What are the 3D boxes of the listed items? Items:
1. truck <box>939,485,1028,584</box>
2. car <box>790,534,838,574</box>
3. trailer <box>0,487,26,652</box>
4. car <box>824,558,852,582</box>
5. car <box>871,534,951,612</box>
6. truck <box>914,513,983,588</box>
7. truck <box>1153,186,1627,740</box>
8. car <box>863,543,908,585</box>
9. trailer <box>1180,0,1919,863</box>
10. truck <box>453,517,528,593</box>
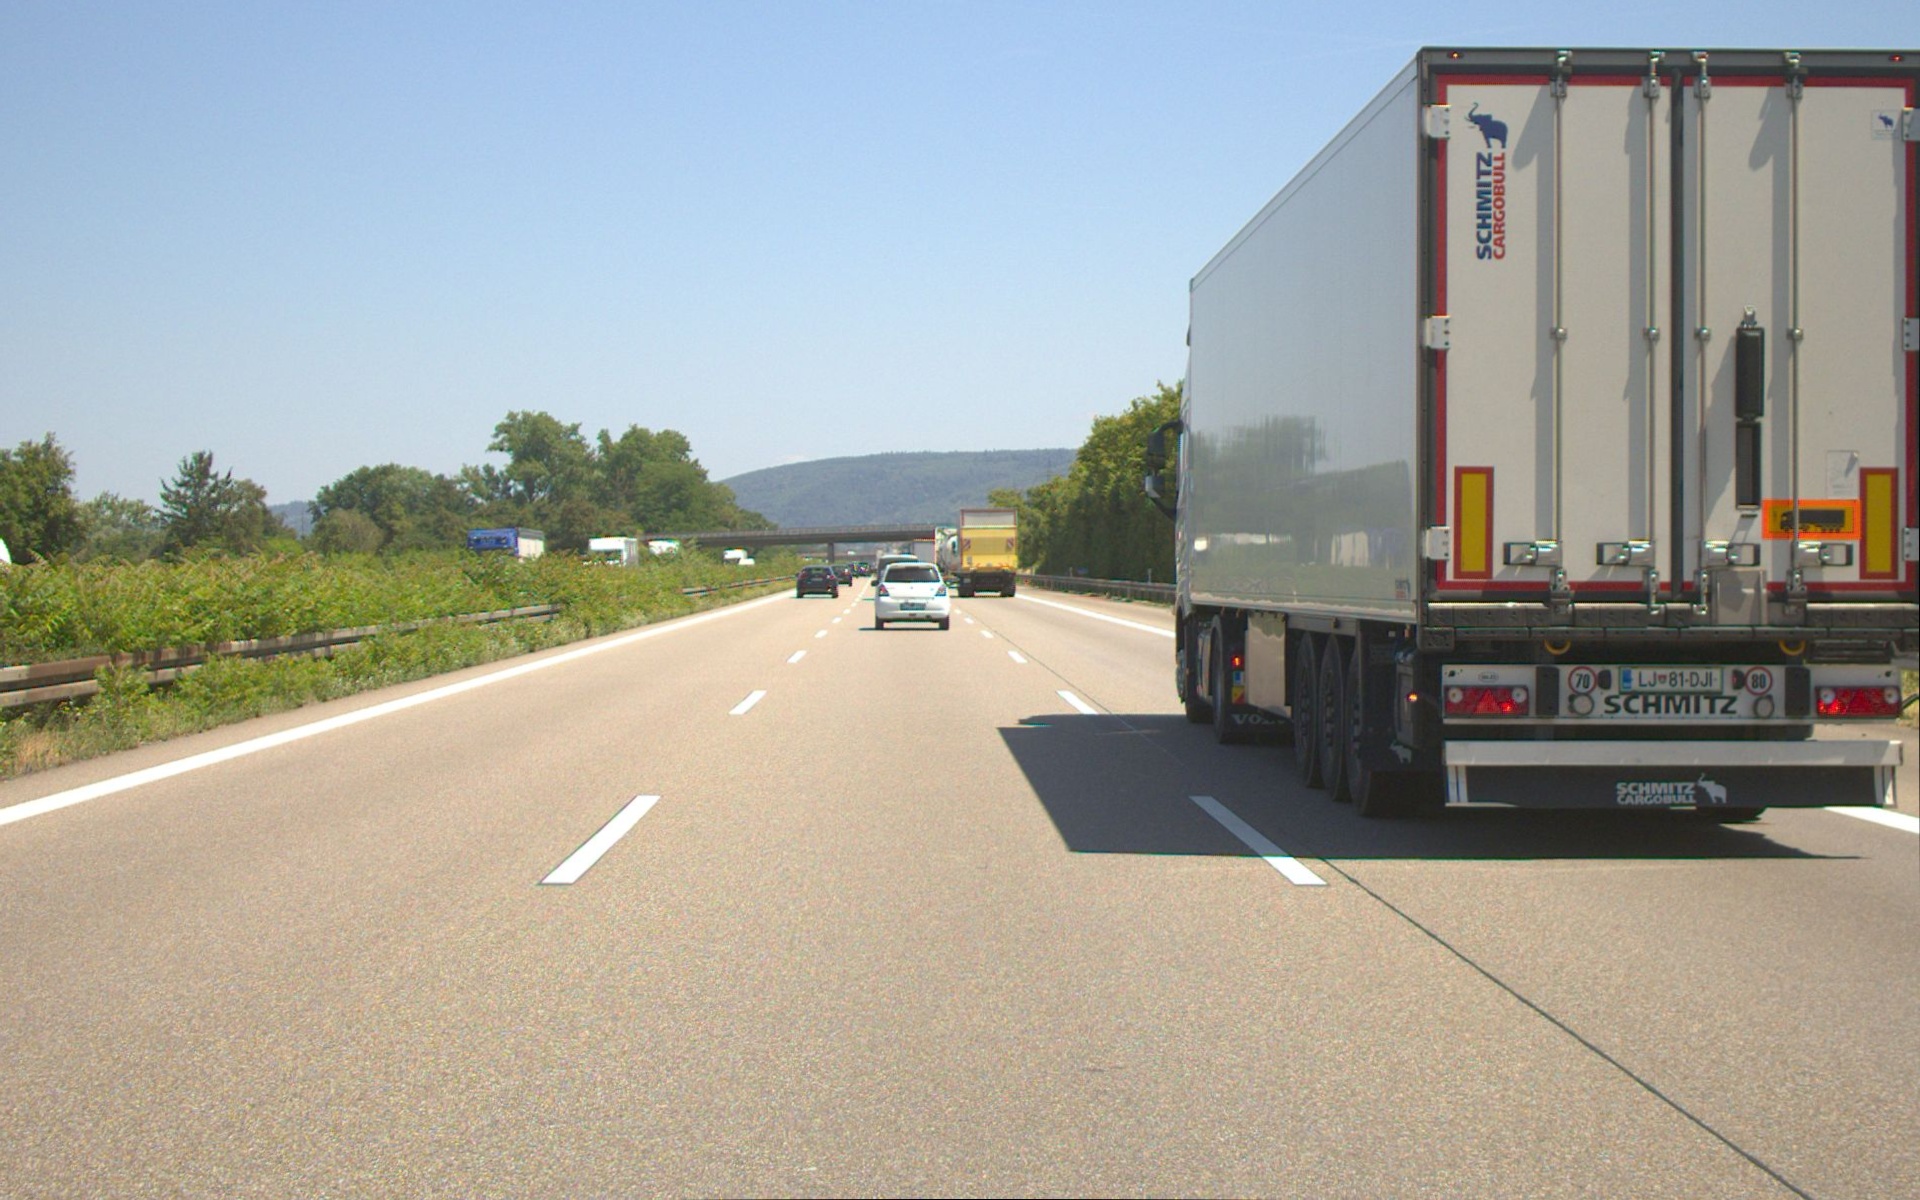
[{"bbox_3d":[1.008,-3.046,159.718,3.871,4.330,13.861,1,1,-1],"label":"truck"},{"bbox_3d":[-6.378,-2.048,150.845,1.993,1.706,4.000,1,1,-1],"label":"car"},{"bbox_3d":[-22.038,-0.584,69.684,3.227,3.504,11.771,-1,1,-1],"label":"trailer"},{"bbox_3d":[-8.236,-2.033,232.538,1.795,1.545,4.000,0,1,-1],"label":"car"},{"bbox_3d":[-1.137,-0.632,78.248,1.732,1.678,4.000,-1,1,-1],"label":"car"},{"bbox_3d":[-0.773,-3.128,219.371,4.271,4.636,13.861,0,1,-1],"label":"truck"},{"bbox_3d":[3.579,-1.137,30.460,3.218,4.330,6.591,1,1,-1],"label":"truck"},{"bbox_3d":[-3.096,-1.509,142.873,1.786,1.706,4.000,1,1,-1],"label":"car"},{"bbox_3d":[3.688,-1.012,23.662,3.218,4.330,13.630,1,1,-1],"label":"trailer"},{"bbox_3d":[-24.104,-2.322,176.830,3.133,3.819,5.834,-1,1,-1],"label":"truck"}]
